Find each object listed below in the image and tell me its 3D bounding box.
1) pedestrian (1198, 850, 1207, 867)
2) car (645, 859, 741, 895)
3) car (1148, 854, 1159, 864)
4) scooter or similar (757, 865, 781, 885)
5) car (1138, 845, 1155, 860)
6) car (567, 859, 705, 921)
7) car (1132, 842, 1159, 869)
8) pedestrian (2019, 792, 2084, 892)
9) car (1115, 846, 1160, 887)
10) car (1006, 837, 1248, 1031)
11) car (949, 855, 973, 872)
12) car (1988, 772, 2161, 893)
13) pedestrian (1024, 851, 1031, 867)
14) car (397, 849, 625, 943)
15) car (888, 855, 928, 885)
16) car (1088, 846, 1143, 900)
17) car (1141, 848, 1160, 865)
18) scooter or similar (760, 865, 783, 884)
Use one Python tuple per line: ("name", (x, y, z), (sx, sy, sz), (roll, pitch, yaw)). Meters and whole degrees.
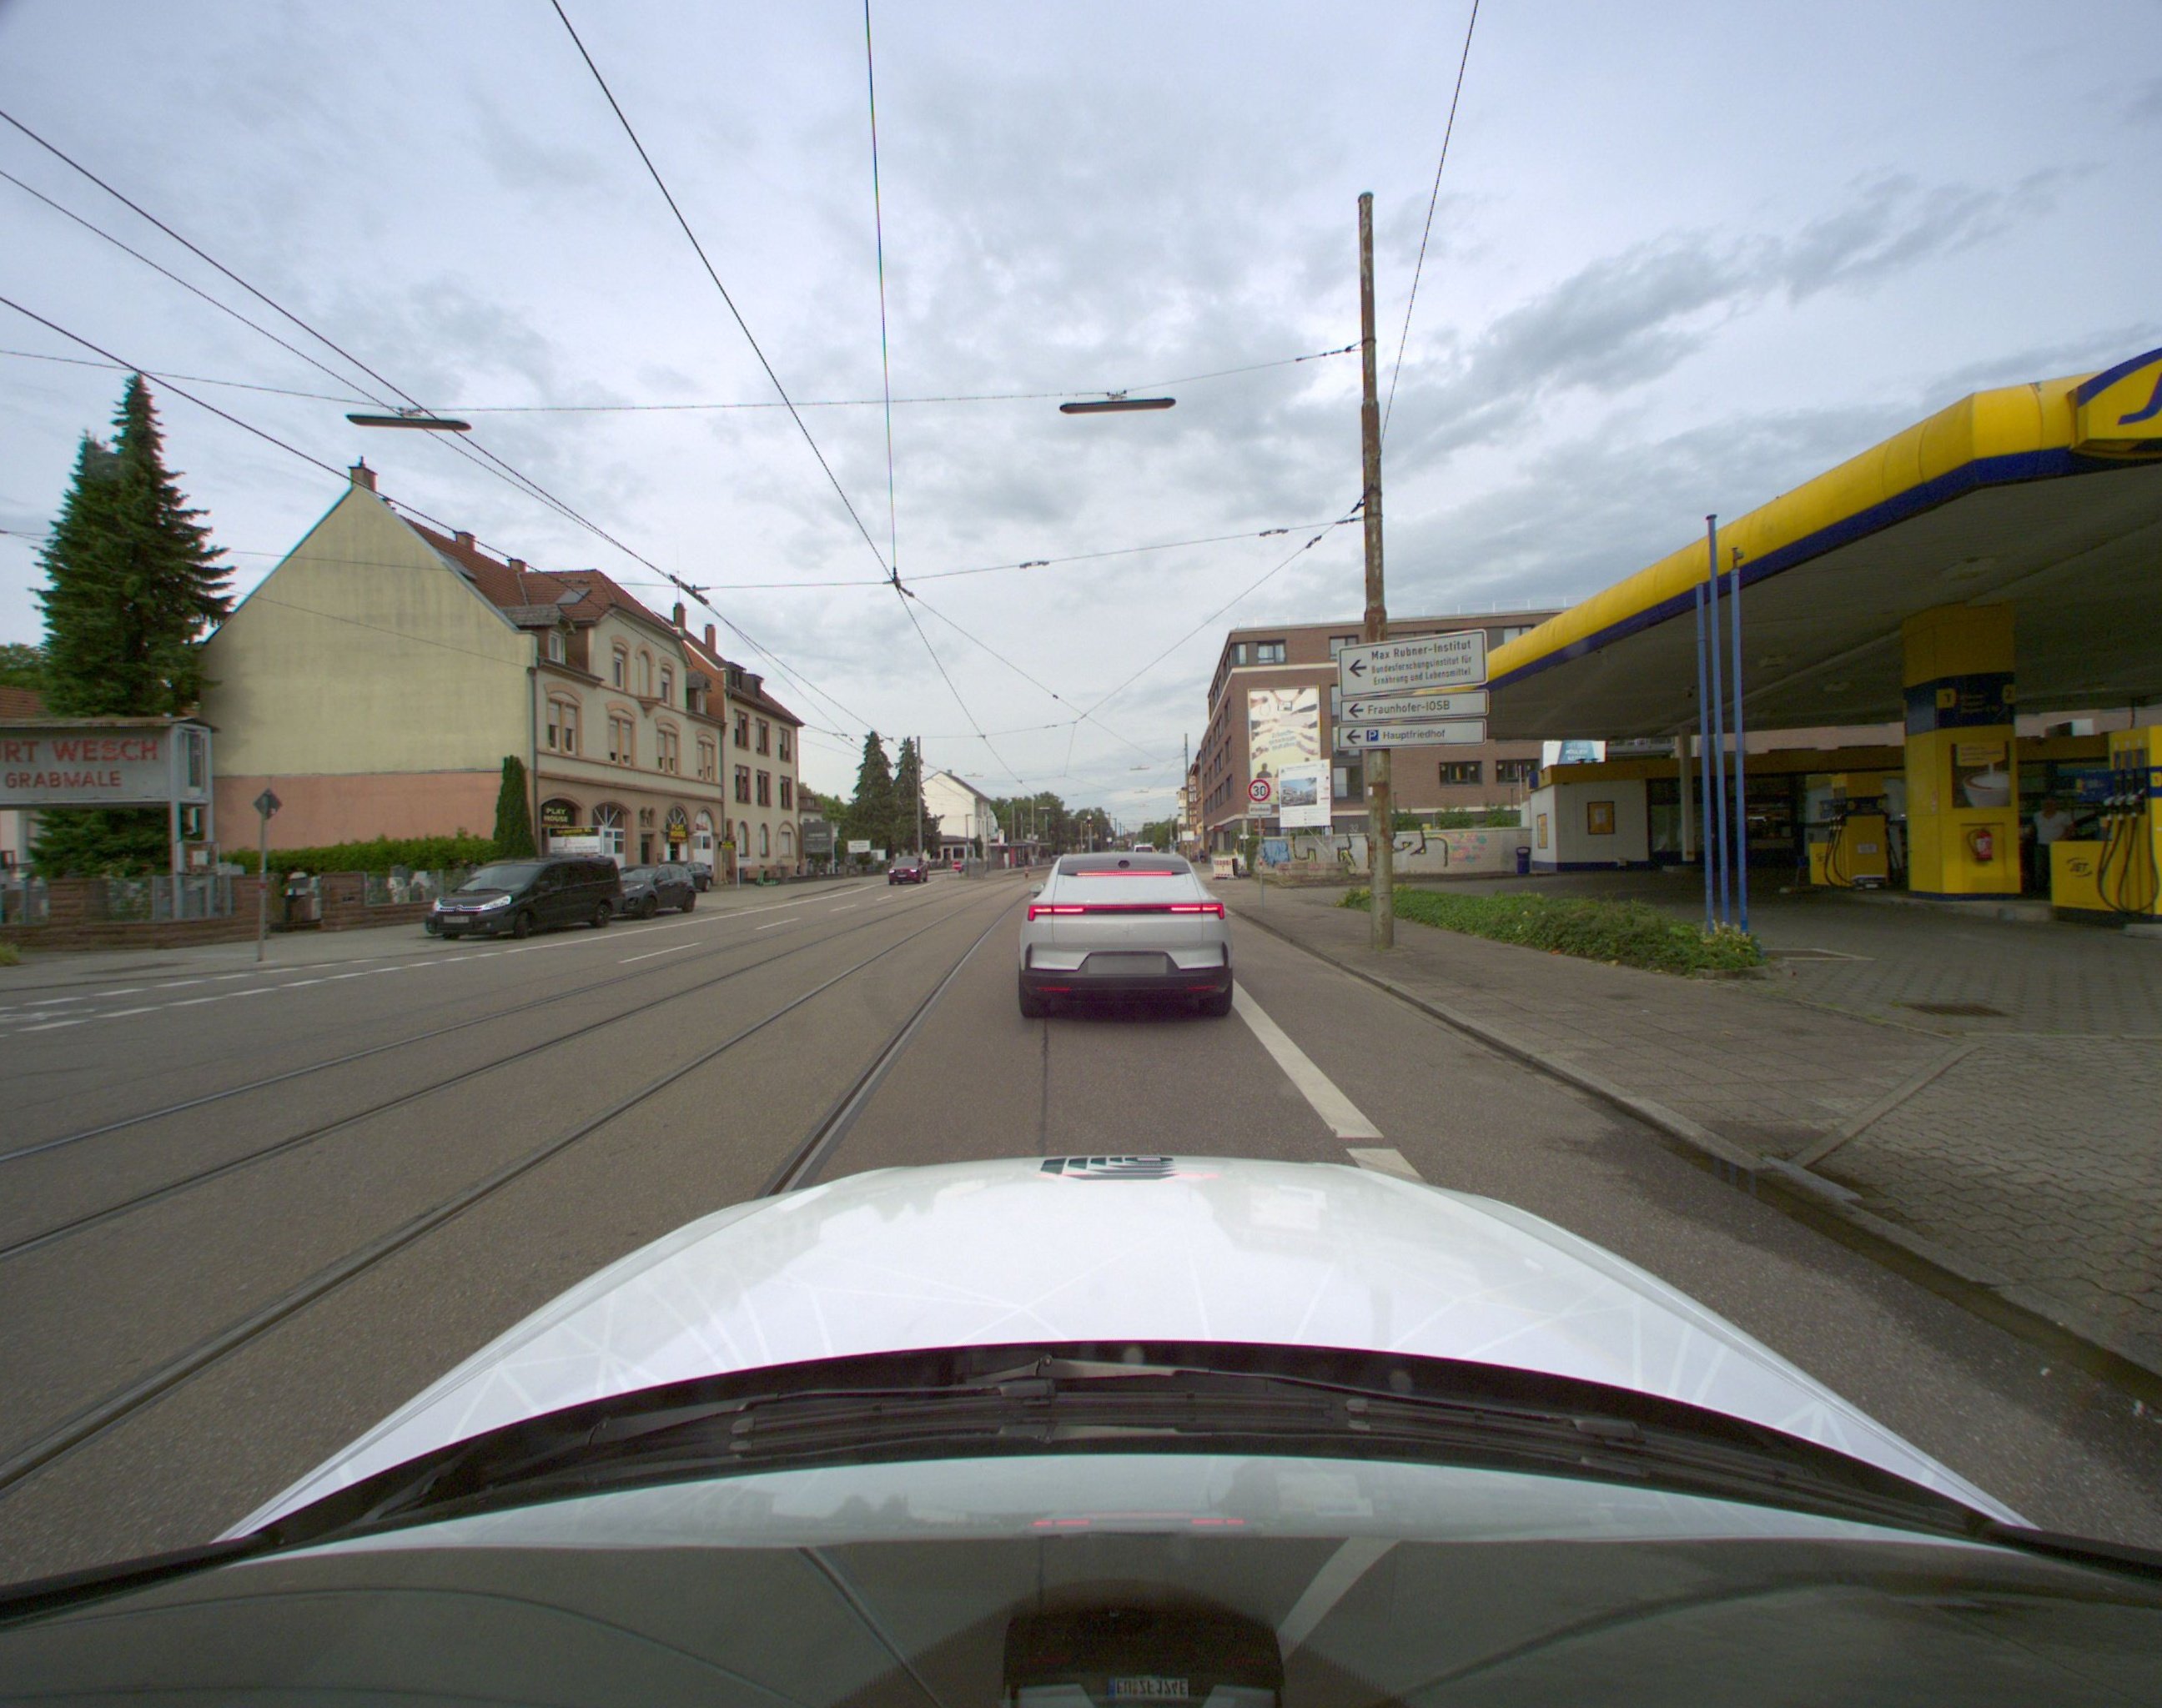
("pedestrian", (14.453, 0.521, 97.027), (0.954, 1.850, 0.978), (-4, 0, 11))
("car", (-17.638, 1.003, 37.306), (1.987, 1.493, 4.902), (-1, 0, 0))
("car", (15.229, 0.978, 170.886), (1.986, 2.014, 4.001), (-1, 0, 2))
("scooter or similar", (-17.755, 1.186, 46.367), (1.181, 1.102, 0.523), (0, -1, -29))
("car", (8.712, -0.193, 108.862), (1.986, 2.014, 4.002), (-1, 0, 2))
("car", (-14.139, 1.075, 26.223), (2.032, 1.749, 4.531), (0, 0, -2))
("car", (5.916, 0.184, 75.678), (2.217, 2.402, 5.125), (-1, 0, 2))
("pedestrian", (17.957, -0.209, 15.086), (0.619, 1.787, 0.712), (-1, -1, 39))
("car", (2.723, 0.581, 40.096), (1.986, 1.816, 4.002), (-2, 0, 2))
("car", (0.409, 0.680, 8.742), (1.992, 1.581, 4.000), (0, -1, 1))
("car", (-11.466, 0.924, 78.129), (1.786, 1.530, 4.137), (-3, 0, -3))
("car", (19.261, -0.390, 14.807), (1.803, 1.988, 4.275), (-3, -1, 19))
("pedestrian", (-5.780, 0.516, 87.739), (0.612, 1.664, 0.699), (-1, -1, 7))
("car", (-13.720, 0.919, 20.134), (1.981, 2.014, 5.183), (0, 0, -1))
("car", (-10.478, 0.954, 49.531), (1.839, 1.724, 4.399), (-2, 0, -5))
("car", (1.239, 0.612, 27.810), (1.673, 1.687, 3.829), (-1, 0, 5))
("car", (8.377, 0.305, 98.461), (1.986, 2.014, 4.002), (-1, 0, 2))
("scooter or similar", (-17.925, 1.193, 47.187), (1.181, 1.102, 0.523), (0, -1, -29))
